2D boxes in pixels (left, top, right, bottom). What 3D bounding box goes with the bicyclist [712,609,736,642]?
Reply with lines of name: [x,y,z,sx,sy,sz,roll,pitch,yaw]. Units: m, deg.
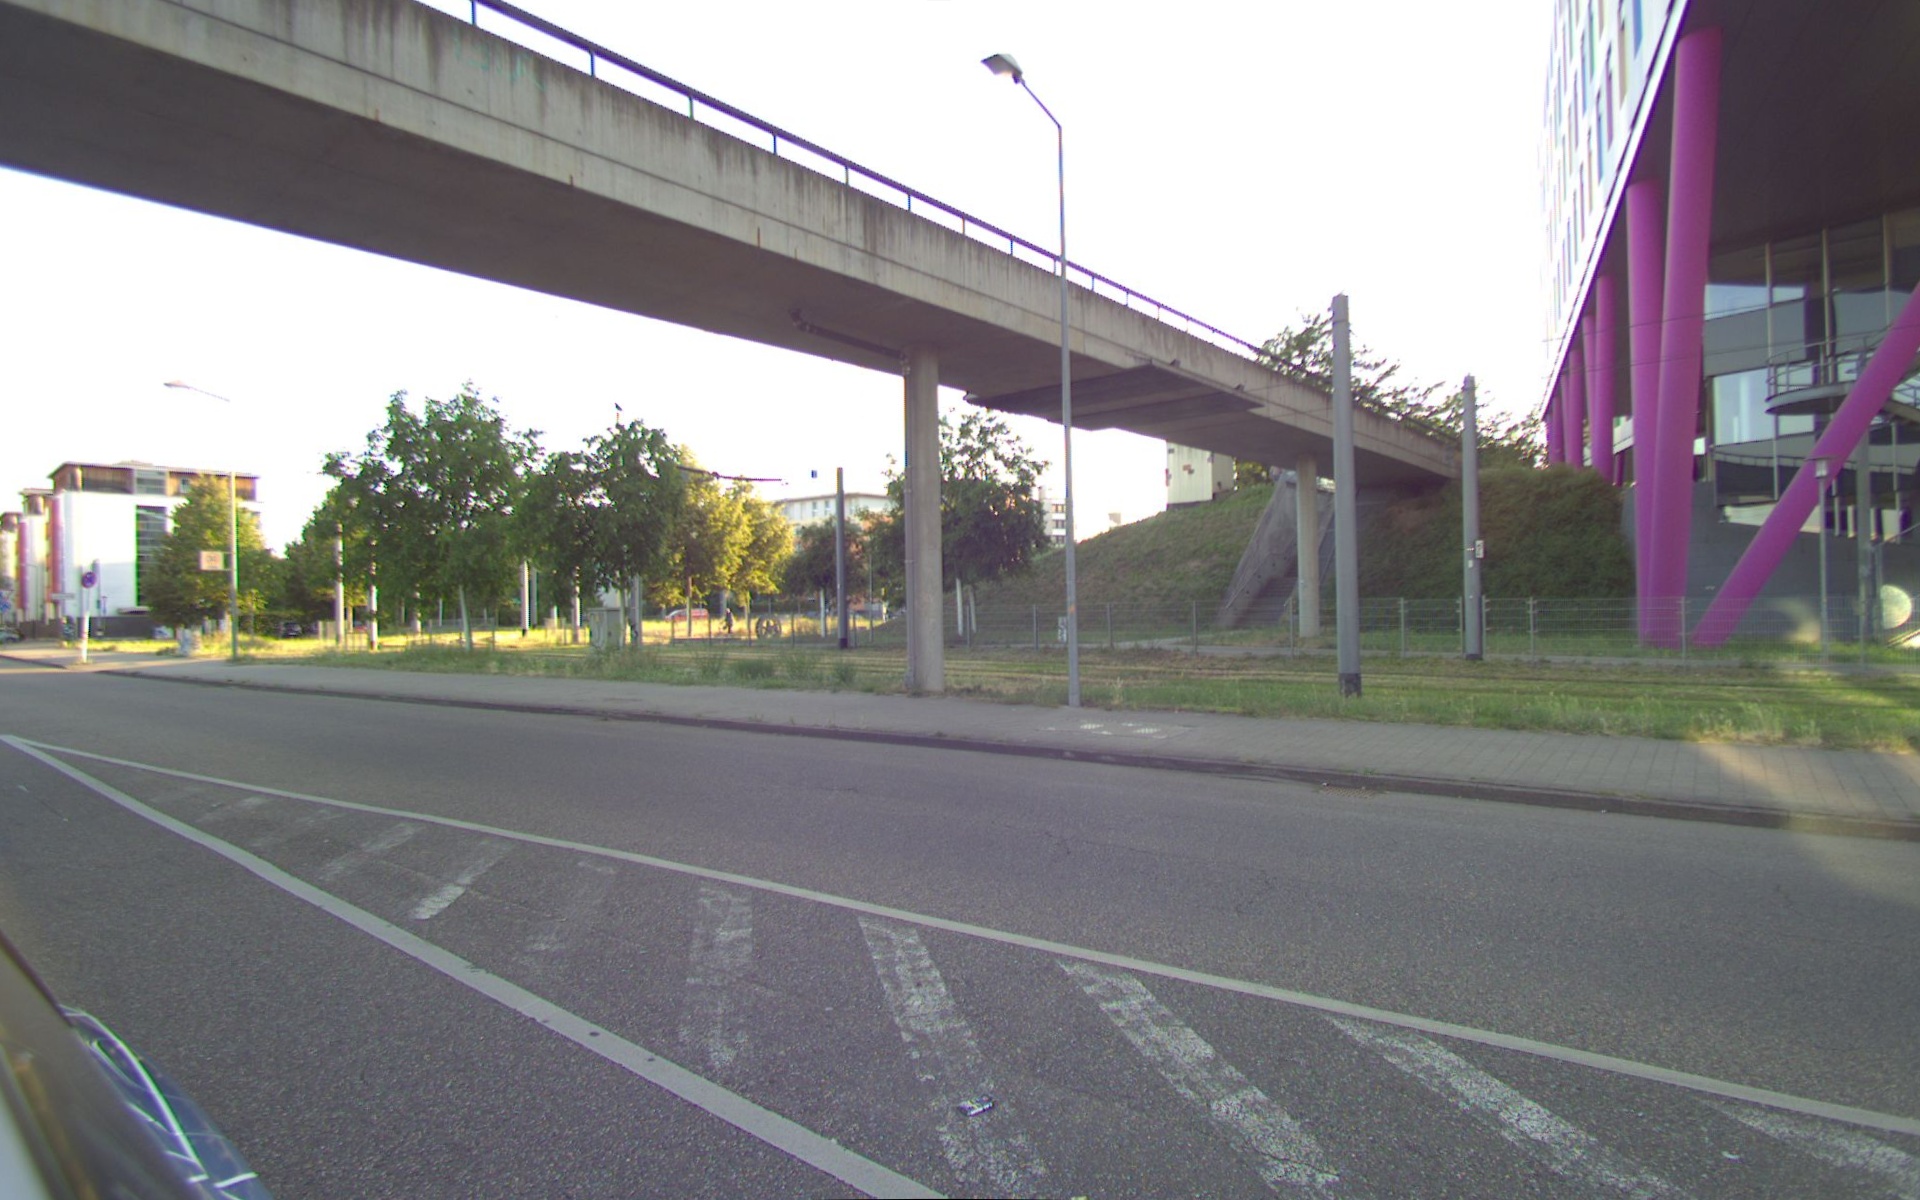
bicyclist: [-12.263,1.322,52.589,0.716,1.644,0.899,-2,-1,36]

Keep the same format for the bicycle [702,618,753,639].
bicycle: [-12.069,1.452,52.648,0.654,1.016,2.808,-2,-1,37]

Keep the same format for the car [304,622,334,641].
car: [-55.182,2.735,87.120,1.913,1.541,4.009,-1,-1,-36]

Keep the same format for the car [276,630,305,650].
car: [-56.764,3.374,85.789,1.913,1.541,4.009,-1,-1,-36]

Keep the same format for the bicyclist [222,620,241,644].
bicyclist: [-56.053,2.459,77.835,0.883,1.890,1.020,-2,-2,41]

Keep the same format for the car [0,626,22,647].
car: [-80.230,3.059,83.518,2.000,1.741,3.944,-2,-1,42]

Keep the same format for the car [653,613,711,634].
car: [-28.795,2.468,104.943,5.445,2.029,2.001,0,-1,-45]

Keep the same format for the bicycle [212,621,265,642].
bicycle: [-55.732,2.450,78.189,3.272,1.503,0.888,-1,-1,-44]
